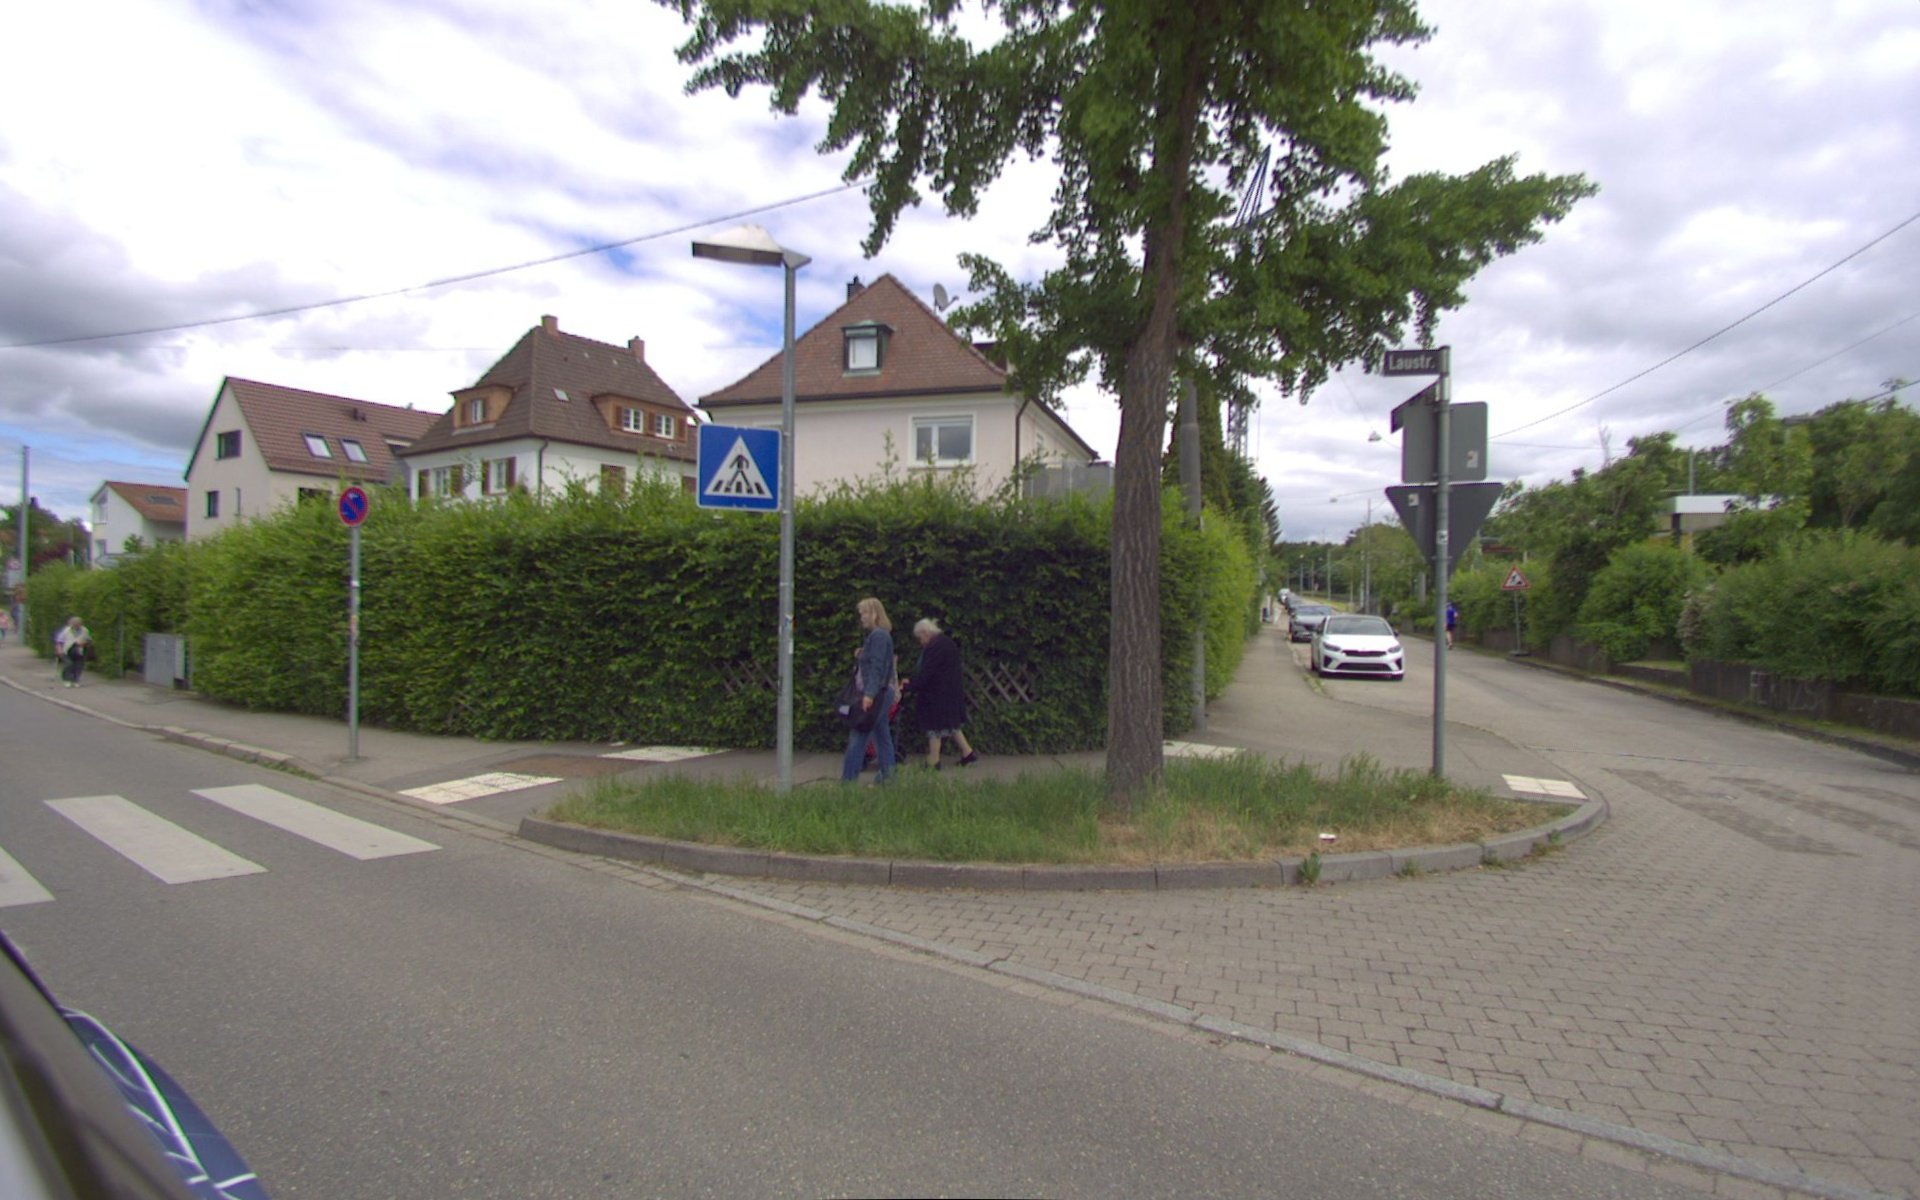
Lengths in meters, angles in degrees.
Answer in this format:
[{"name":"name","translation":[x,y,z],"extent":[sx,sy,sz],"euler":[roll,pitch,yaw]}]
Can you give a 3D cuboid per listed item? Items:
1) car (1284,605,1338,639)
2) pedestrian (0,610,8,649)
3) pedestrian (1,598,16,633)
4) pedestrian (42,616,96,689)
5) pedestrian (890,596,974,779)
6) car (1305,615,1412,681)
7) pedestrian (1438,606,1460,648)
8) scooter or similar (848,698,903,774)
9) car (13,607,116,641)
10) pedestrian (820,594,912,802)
[{"name":"car","translation":[15.439,0.945,44.654],"extent":[1.752,1.453,3.771],"euler":[0,-1,11]},{"name":"pedestrian","translation":[-40.076,1.213,42.106],"extent":[0.608,1.611,0.611],"euler":[-1,-1,40]},{"name":"pedestrian","translation":[-53.635,0.897,57.050],"extent":[0.528,1.967,0.528],"euler":[1,-1,-40]},{"name":"pedestrian","translation":[-19.269,1.119,21.892],"extent":[0.542,1.542,0.742],"euler":[-1,0,28]},{"name":"pedestrian","translation":[-0.273,0.788,9.549],"extent":[0.588,1.632,0.680],"euler":[-2,1,-19]},{"name":"car","translation":[9.141,1.048,23.496],"extent":[1.764,1.322,3.756],"euler":[1,0,14]},{"name":"pedestrian","translation":[18.883,1.034,39.113],"extent":[0.639,1.542,0.660],"euler":[2,1,18]},{"name":"scooter or similar","translation":[-0.792,1.257,9.439],"extent":[0.393,0.614,0.490],"euler":[-2,2,-19]},{"name":"car","translation":[-47.898,1.274,54.193],"extent":[1.885,1.741,3.943],"euler":[-1,-1,43]},{"name":"pedestrian","translation":[-0.794,0.776,8.427],"extent":[0.588,1.632,0.680],"euler":[-2,1,-19]}]
